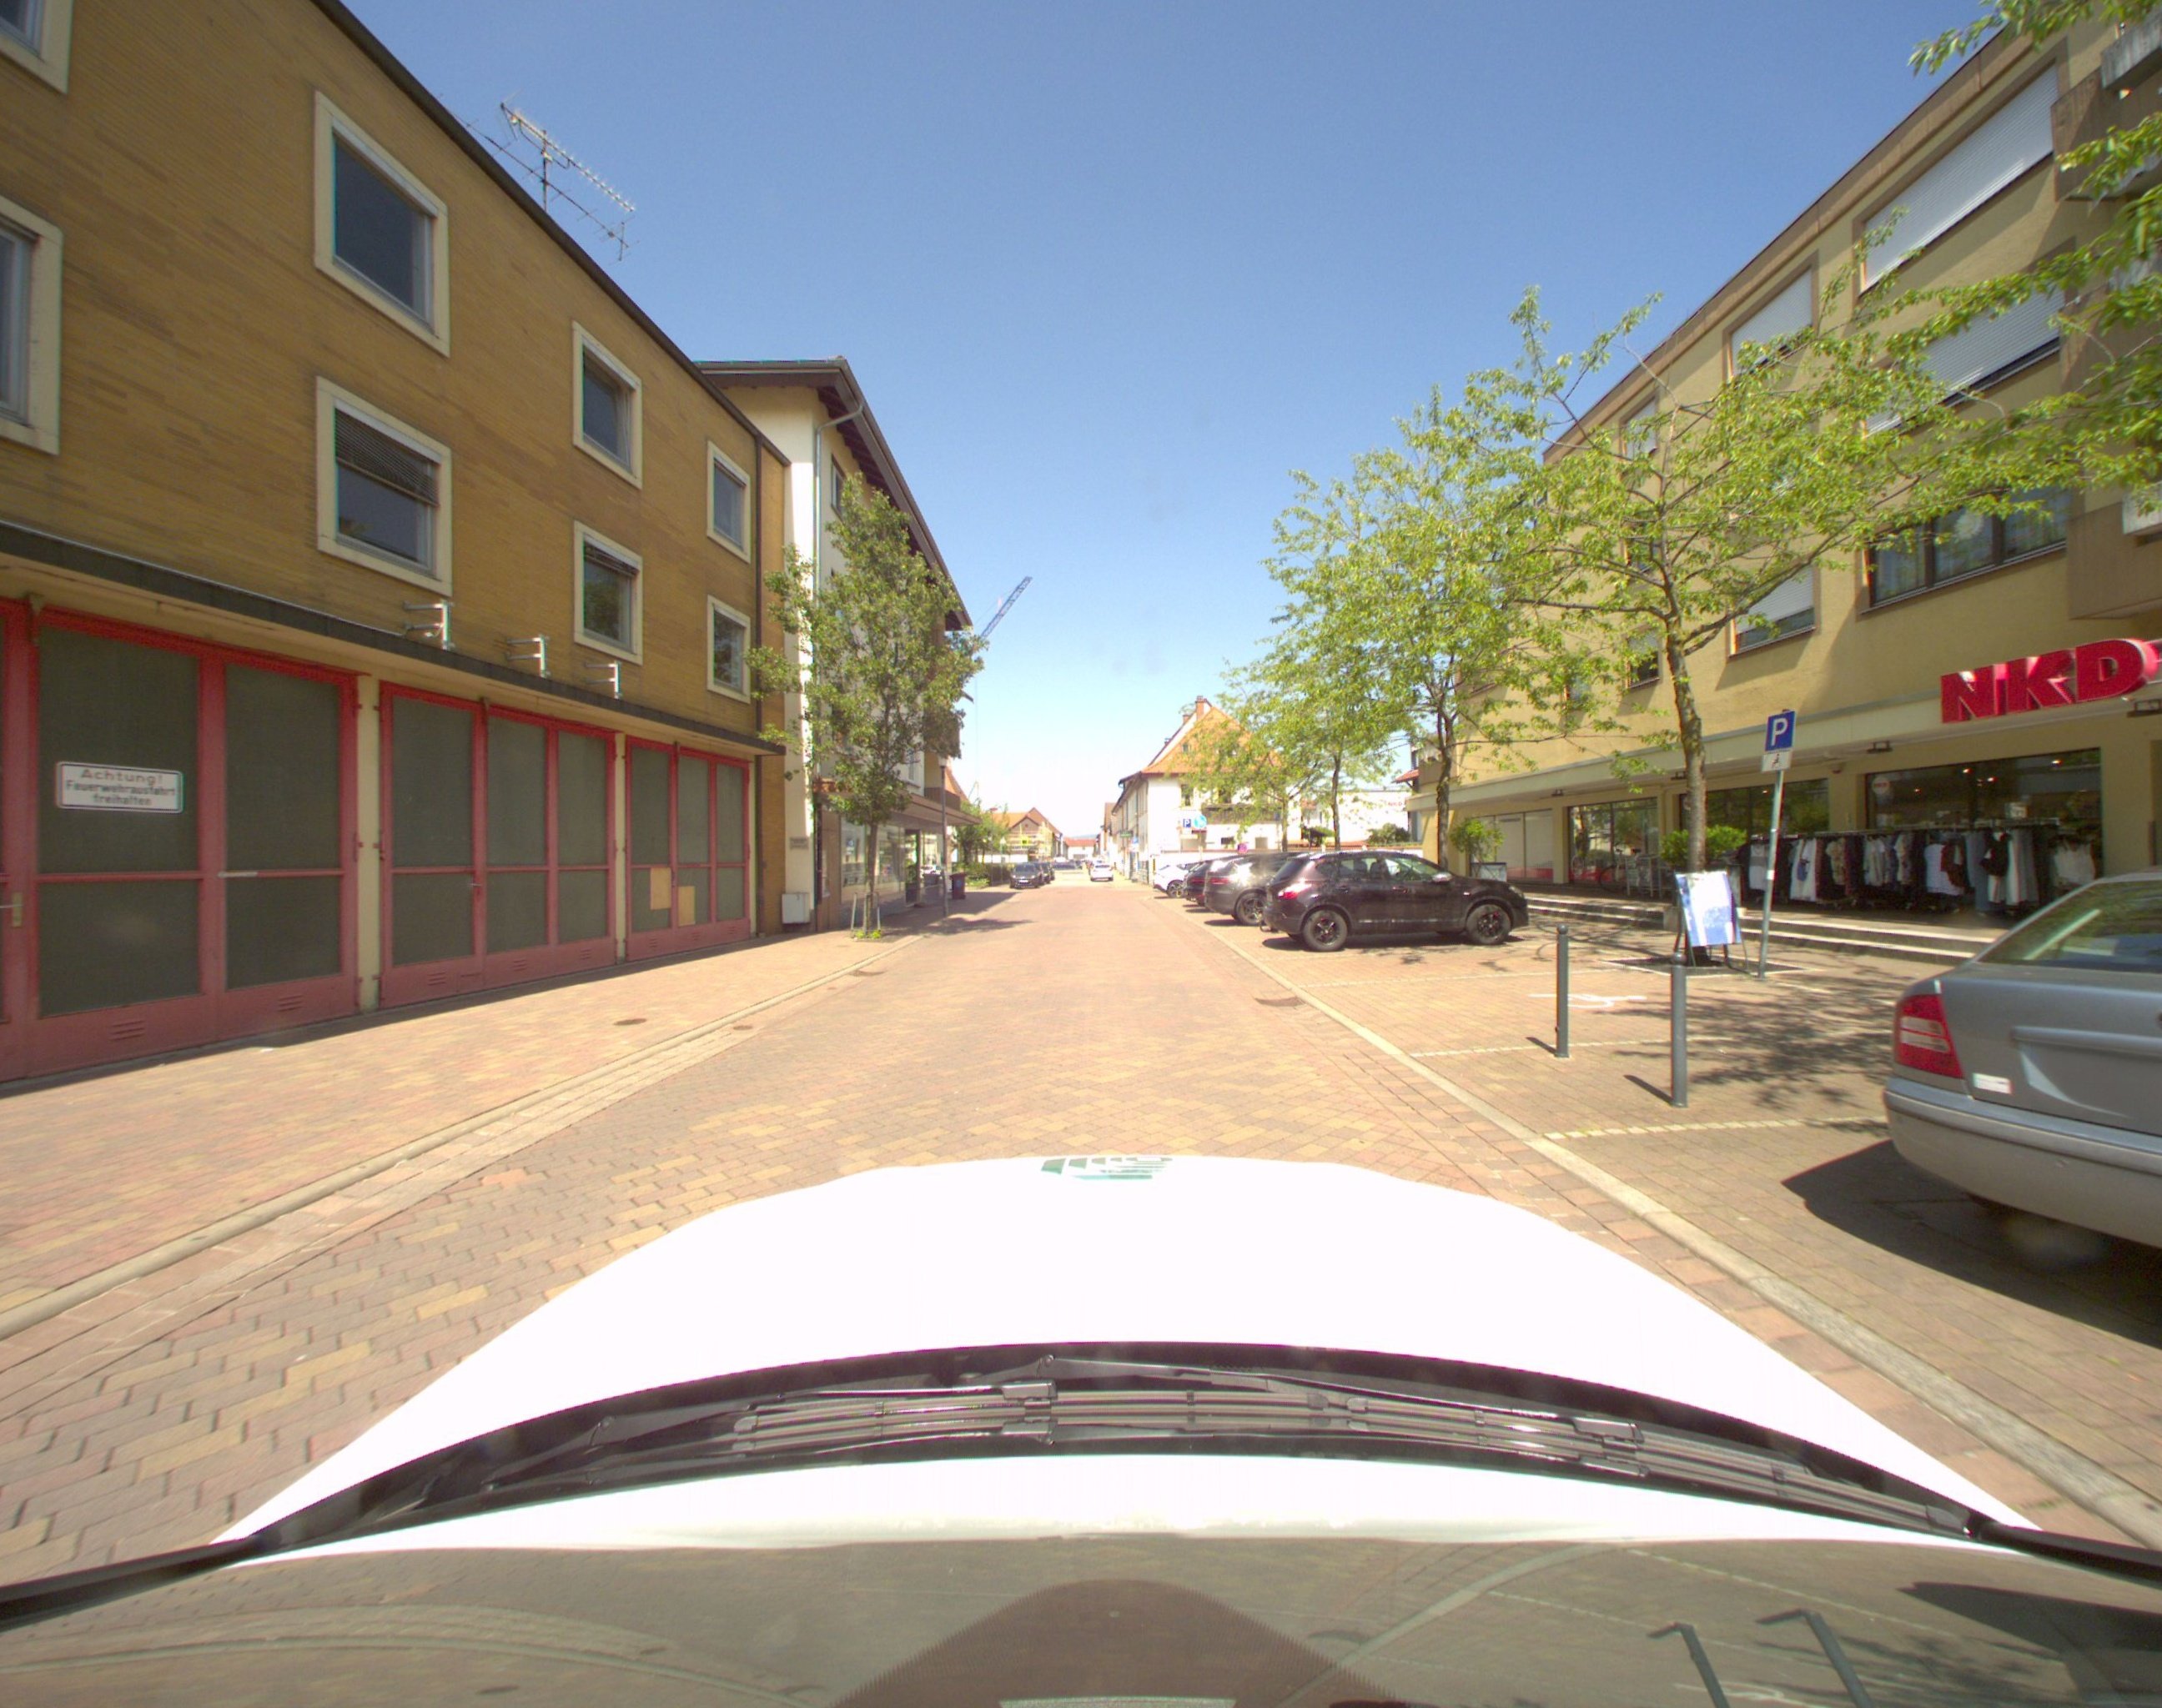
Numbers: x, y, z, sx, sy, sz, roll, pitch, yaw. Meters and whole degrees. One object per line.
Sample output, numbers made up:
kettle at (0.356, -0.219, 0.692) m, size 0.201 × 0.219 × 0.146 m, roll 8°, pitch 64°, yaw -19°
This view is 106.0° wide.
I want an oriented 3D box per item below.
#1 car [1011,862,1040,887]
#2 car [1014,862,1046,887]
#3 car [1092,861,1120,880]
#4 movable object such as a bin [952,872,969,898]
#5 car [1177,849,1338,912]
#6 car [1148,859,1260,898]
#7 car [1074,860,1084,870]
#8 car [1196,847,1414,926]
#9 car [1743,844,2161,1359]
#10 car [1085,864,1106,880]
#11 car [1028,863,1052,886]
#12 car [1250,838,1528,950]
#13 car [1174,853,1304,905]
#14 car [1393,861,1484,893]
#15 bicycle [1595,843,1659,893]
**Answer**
car at (-3.338, 1.215, 49.487) m, size 1.698 × 1.497 × 3.852 m, roll 0°, pitch -1°, yaw -3°
car at (-3.394, 1.351, 55.298) m, size 1.809 × 1.605 × 4.025 m, roll 0°, pitch -1°, yaw 1°
car at (2.114, 1.377, 67.933) m, size 1.876 × 1.542 × 4.251 m, roll 0°, pitch -1°, yaw 8°
movable object such as a bin at (-5.008, 1.288, 33.780) m, size 0.654 × 1.070 × 0.662 m, roll 1°, pitch -1°, yaw -6°
car at (5.095, 0.753, 23.976) m, size 4.267 × 1.681 × 1.999 m, roll -1°, pitch -1°, yaw -2°
car at (5.085, 1.015, 34.038) m, size 4.429 × 1.576 × 1.787 m, roll 0°, pitch -1°, yaw -3°
car at (-0.366, 2.018, 150.331) m, size 1.876 × 1.668 × 4.151 m, roll 0°, pitch -1°, yaw -1°
car at (4.988, 0.720, 18.646) m, size 4.489 × 1.588 × 1.852 m, roll -2°, pitch -1°, yaw 3°
car at (5.090, 0.679, 3.157) m, size 4.386 × 1.463 × 1.878 m, roll -1°, pitch -1°, yaw -19°
car at (1.514, 1.883, 87.939) m, size 1.880 × 1.556 × 3.890 m, roll -4°, pitch 0°, yaw -3°
car at (-3.028, 1.482, 60.972) m, size 1.632 × 1.629 × 3.767 m, roll 0°, pitch 0°, yaw -1°
car at (5.038, 0.649, 13.720) m, size 4.012 × 1.612 × 1.681 m, roll -2°, pitch -1°, yaw 1°
car at (5.195, 0.814, 27.114) m, size 3.932 × 1.534 × 1.823 m, roll -2°, pitch -1°, yaw -1°
car at (16.882, 1.069, 38.530) m, size 3.602 × 1.452 × 1.655 m, roll -1°, pitch 0°, yaw 1°
bicycle at (12.947, 0.337, 19.359) m, size 0.411 × 1.124 × 1.775 m, roll 0°, pitch -1°, yaw 3°
